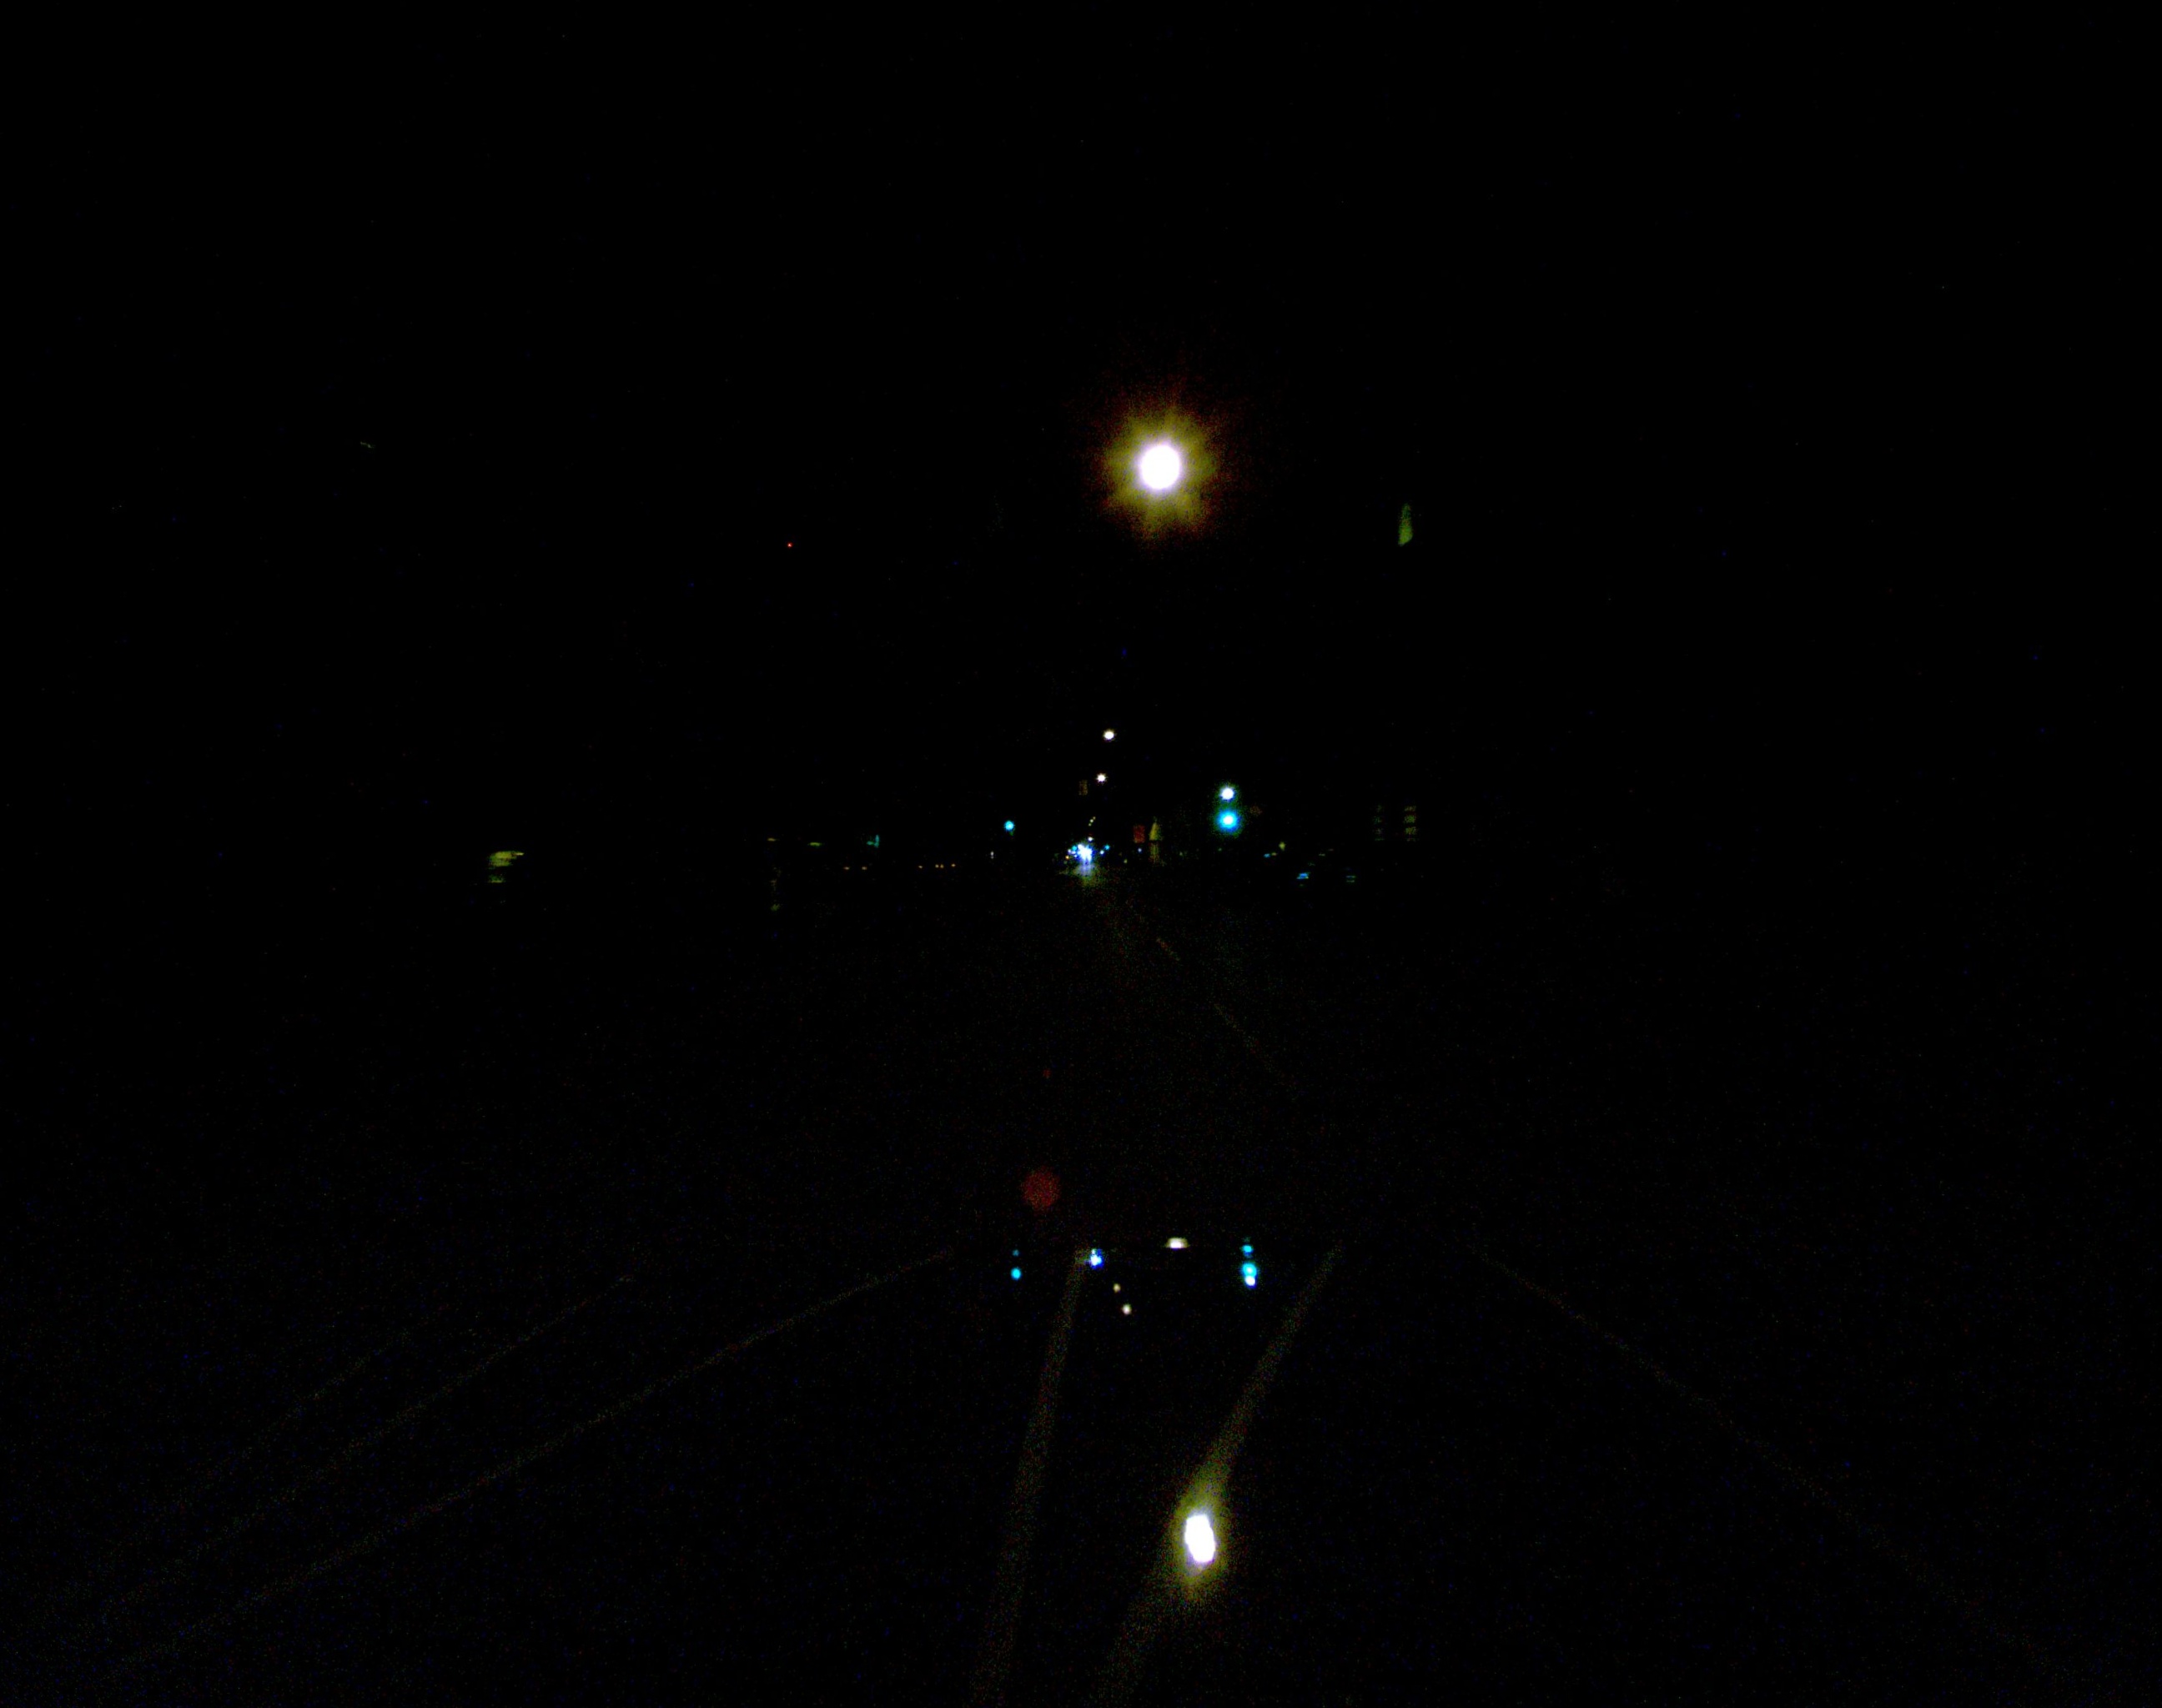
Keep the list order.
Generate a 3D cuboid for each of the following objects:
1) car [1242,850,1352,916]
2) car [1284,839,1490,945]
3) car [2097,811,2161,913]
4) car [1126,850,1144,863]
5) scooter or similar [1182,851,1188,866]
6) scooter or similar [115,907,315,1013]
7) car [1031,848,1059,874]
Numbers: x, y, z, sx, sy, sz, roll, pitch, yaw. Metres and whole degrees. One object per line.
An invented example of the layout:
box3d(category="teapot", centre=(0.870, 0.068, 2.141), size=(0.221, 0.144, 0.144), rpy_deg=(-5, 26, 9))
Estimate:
box3d(category="car", centre=(5.613, 0.696, 20.231), size=(1.652, 1.506, 3.700), rpy_deg=(-3, 1, -3))
box3d(category="car", centre=(5.633, 0.635, 14.754), size=(1.853, 1.640, 4.670), rpy_deg=(-3, 0, -3))
box3d(category="car", centre=(14.845, 0.090, 8.719), size=(1.560, 1.309, 3.562), rpy_deg=(-3, 1, -1))
box3d(category="car", centre=(6.479, 0.324, 91.822), size=(1.731, 1.477, 4.291), rpy_deg=(-3, 0, 0))
box3d(category="scooter or similar", centre=(9.085, 0.377, 66.343), size=(0.332, 1.218, 1.335), rpy_deg=(-3, 1, 2))
box3d(category="scooter or similar", centre=(-11.595, 1.375, 10.252), size=(0.499, 1.139, 1.669), rpy_deg=(1, 2, 25))
box3d(category="car", centre=(-2.653, 0.501, 57.109), size=(1.916, 1.816, 4.899), rpy_deg=(-2, 0, -2))
